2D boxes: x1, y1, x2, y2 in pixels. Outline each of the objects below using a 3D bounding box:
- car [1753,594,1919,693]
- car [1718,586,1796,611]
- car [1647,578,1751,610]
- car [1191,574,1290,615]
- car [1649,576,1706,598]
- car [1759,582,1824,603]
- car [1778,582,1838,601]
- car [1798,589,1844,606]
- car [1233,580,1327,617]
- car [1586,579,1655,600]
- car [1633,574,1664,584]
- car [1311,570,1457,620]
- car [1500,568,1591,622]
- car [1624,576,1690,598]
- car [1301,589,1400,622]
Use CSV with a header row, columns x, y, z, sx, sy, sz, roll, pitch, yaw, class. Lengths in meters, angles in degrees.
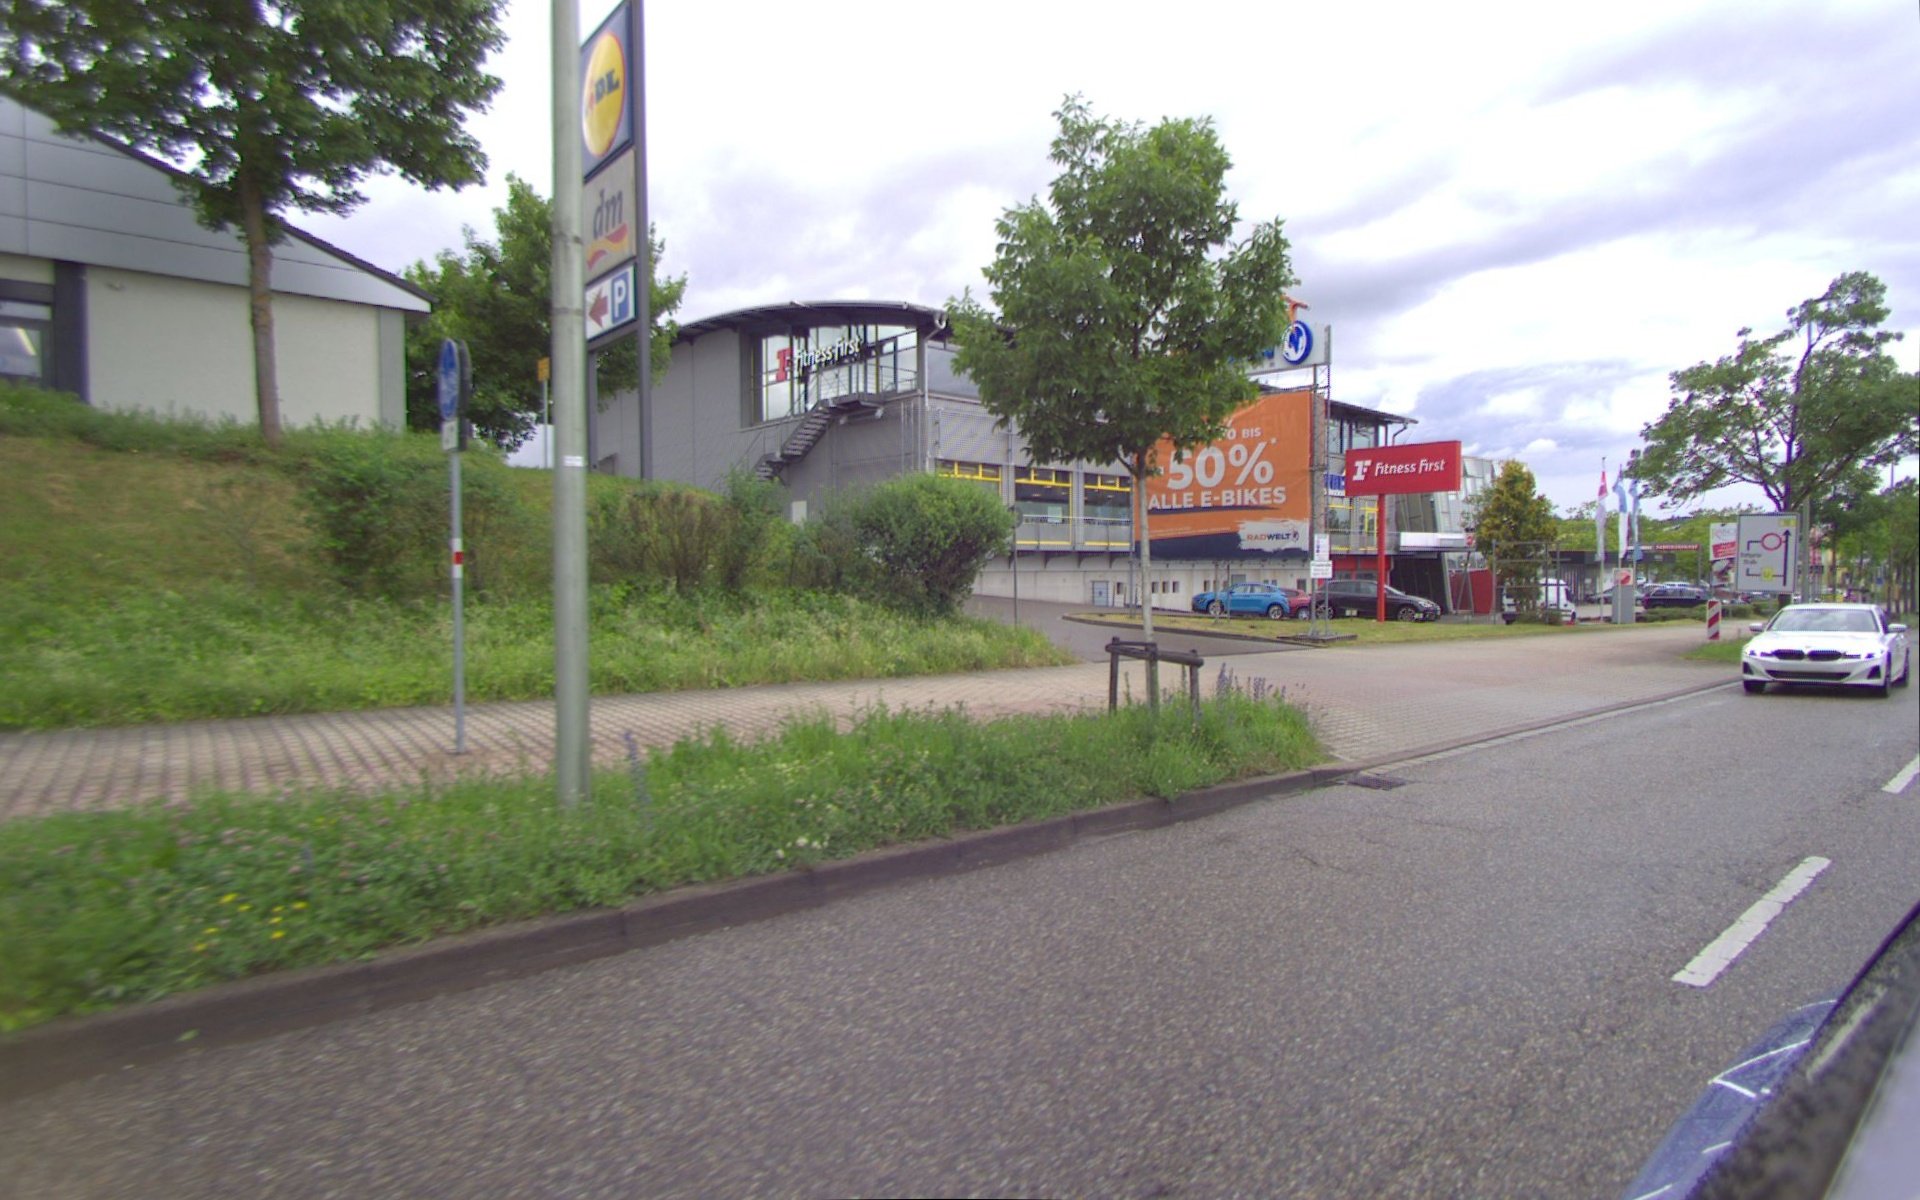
x,y,z,sx,sy,sz,roll,pitch,yaw,class
14.938,0.640,17.139,4.467,1.459,1.804,0,-1,-44,car
58.065,-0.124,73.753,1.831,1.490,4.175,0,4,-43,car
44.866,-0.365,61.540,1.889,1.620,4.677,1,4,-33,car
12.081,-0.228,43.786,3.843,1.579,1.737,2,-1,6,car
69.519,-1.284,98.095,4.041,1.766,1.800,3,4,3,car
74.734,-0.690,90.984,4.108,1.598,1.740,3,3,9,car
83.191,-0.854,99.295,4.233,1.598,1.744,3,3,1,car
88.420,-0.267,104.002,1.713,1.599,3.867,2,0,6,car
14.663,-0.050,46.475,3.809,1.521,1.736,2,-1,8,car
54.918,-0.887,84.212,4.419,1.412,1.799,3,4,5,car
120.223,-3.700,176.814,1.793,1.601,4.216,0,2,-43,car
13.712,-0.177,32.825,4.077,1.457,1.774,2,-1,35,car
29.338,-0.278,50.634,5.582,2.569,2.230,-1,0,-42,car
62.848,-1.174,91.360,4.424,1.701,1.797,3,4,9,car
19.339,0.284,50.264,4.183,1.489,1.738,2,-1,4,car
